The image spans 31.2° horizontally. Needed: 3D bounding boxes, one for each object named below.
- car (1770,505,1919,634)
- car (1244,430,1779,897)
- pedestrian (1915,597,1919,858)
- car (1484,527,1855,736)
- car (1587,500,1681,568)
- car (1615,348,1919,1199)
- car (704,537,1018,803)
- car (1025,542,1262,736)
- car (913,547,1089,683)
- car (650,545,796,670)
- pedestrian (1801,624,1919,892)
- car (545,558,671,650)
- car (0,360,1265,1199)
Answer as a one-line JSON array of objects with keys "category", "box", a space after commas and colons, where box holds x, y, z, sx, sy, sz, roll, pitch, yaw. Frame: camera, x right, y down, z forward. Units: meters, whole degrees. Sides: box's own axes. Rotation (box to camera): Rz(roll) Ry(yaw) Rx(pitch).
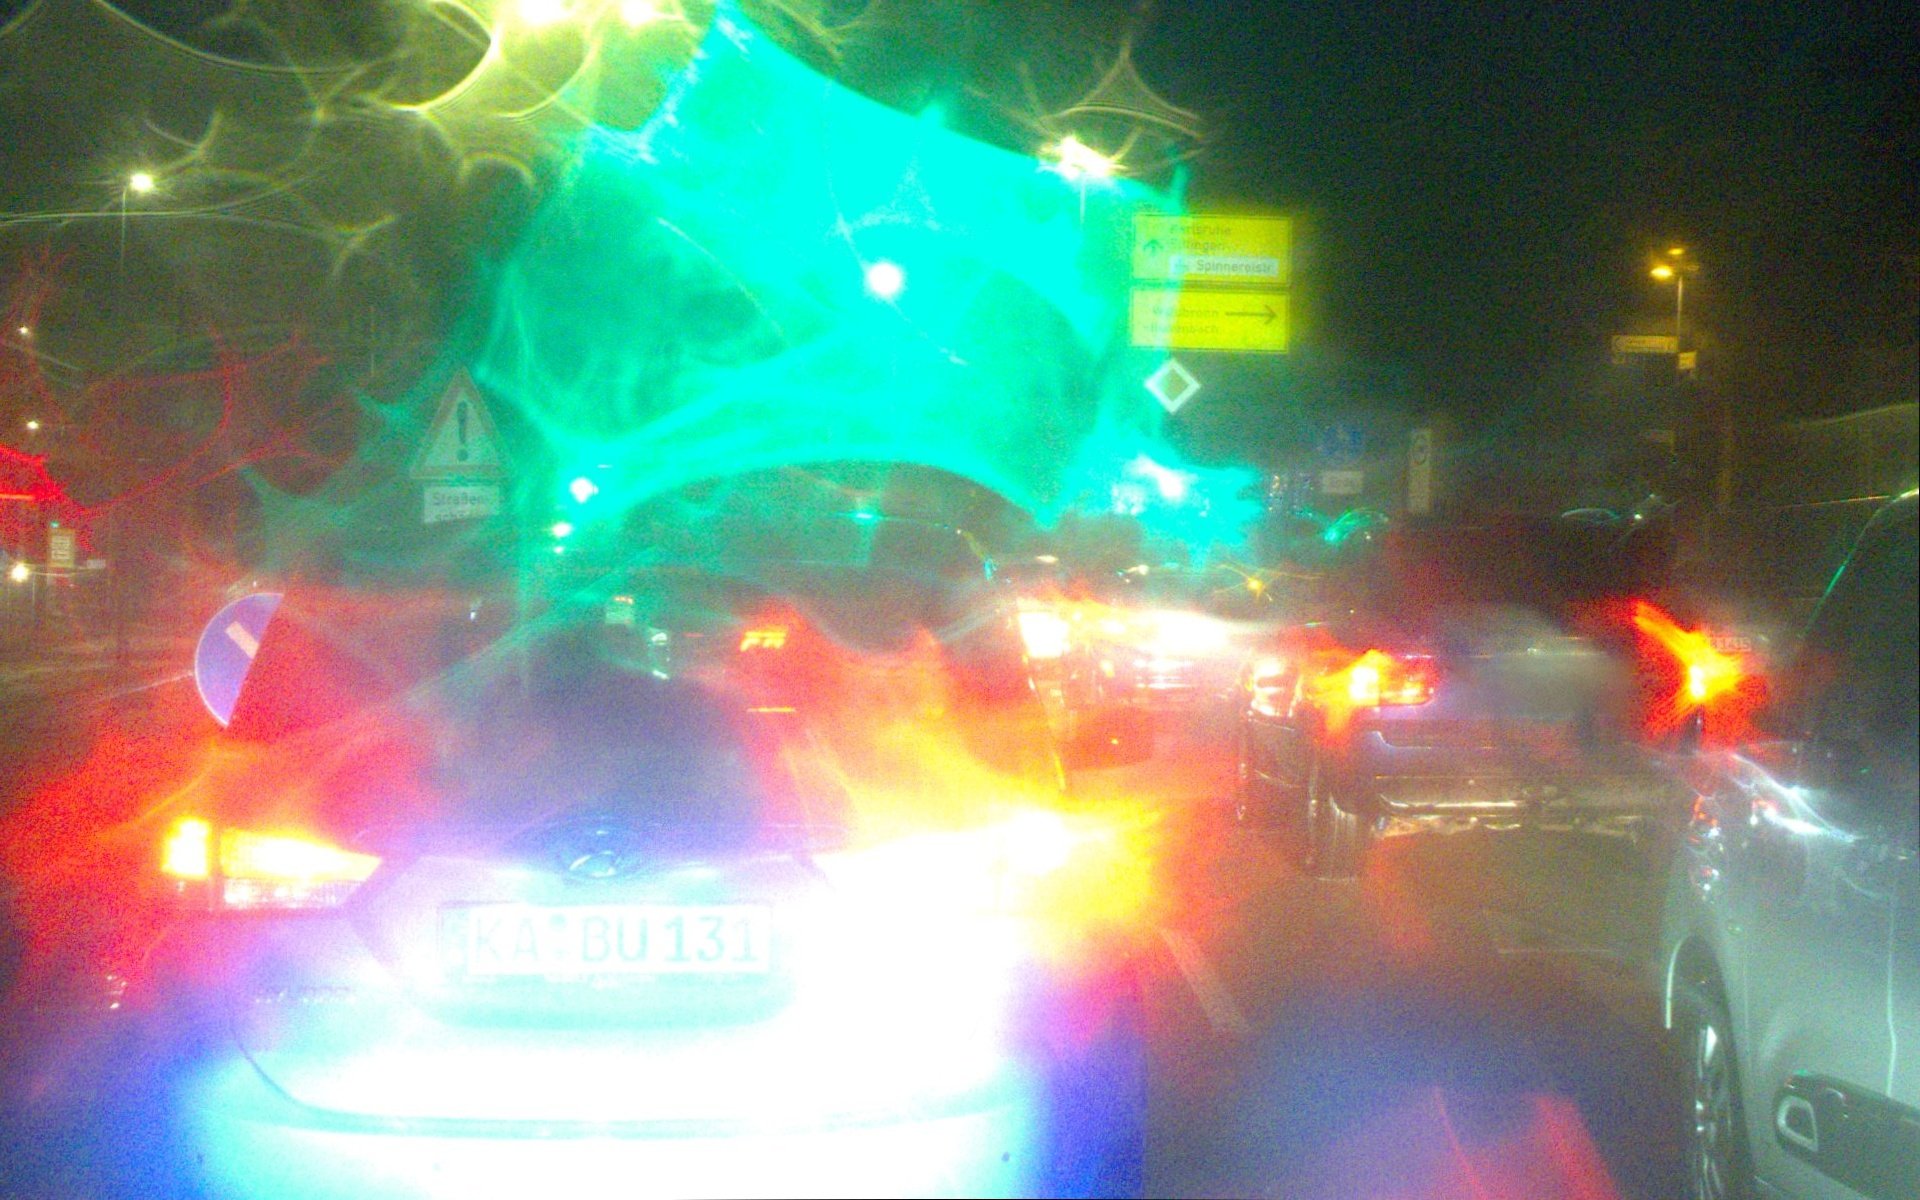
[{"category": "car", "box": [11.739, -0.336, 39.622, 4.334, 1.455, 1.849, 1, 0, 28]}, {"category": "car", "box": [2.612, 0.266, 17.254, 1.968, 2.040, 4.000, 1, 0, -1]}, {"category": "pedestrian", "box": [6.719, 0.835, 22.155, 0.864, 1.696, 0.620, 1, 0, -14]}, {"category": "car", "box": [5.267, 0.176, 26.060, 1.784, 1.437, 4.238, -1, 1, -2]}, {"category": "car", "box": [20.621, -2.007, 105.284, 1.993, 2.007, 4.000, 1, 0, -1]}, {"category": "car", "box": [2.461, 0.537, 5.682, 1.851, 1.858, 4.341, 1, 0, -1]}, {"category": "car", "box": [-0.661, 0.435, 24.150, 1.993, 1.678, 4.000, 1, 0, -1]}, {"category": "car", "box": [1.692, 0.335, 33.022, 1.993, 1.712, 4.000, 1, 0, -1]}, {"category": "car", "box": [0.491, 0.175, 44.958, 1.993, 1.664, 4.001, 1, 0, -3]}, {"category": "car", "box": [-3.697, 0.093, 53.021, 1.993, 1.818, 4.001, 1, 0, -7]}, {"category": "pedestrian", "box": [5.836, 1.012, 22.220, 0.622, 1.696, 0.541, 1, 0, -3]}, {"category": "car", "box": [-7.329, 0.056, 71.322, 1.993, 1.818, 4.001, 1, 0, -14]}, {"category": "car", "box": [-0.605, 0.494, 7.398, 2.014, 1.711, 4.452, 1, 0, -1]}]
